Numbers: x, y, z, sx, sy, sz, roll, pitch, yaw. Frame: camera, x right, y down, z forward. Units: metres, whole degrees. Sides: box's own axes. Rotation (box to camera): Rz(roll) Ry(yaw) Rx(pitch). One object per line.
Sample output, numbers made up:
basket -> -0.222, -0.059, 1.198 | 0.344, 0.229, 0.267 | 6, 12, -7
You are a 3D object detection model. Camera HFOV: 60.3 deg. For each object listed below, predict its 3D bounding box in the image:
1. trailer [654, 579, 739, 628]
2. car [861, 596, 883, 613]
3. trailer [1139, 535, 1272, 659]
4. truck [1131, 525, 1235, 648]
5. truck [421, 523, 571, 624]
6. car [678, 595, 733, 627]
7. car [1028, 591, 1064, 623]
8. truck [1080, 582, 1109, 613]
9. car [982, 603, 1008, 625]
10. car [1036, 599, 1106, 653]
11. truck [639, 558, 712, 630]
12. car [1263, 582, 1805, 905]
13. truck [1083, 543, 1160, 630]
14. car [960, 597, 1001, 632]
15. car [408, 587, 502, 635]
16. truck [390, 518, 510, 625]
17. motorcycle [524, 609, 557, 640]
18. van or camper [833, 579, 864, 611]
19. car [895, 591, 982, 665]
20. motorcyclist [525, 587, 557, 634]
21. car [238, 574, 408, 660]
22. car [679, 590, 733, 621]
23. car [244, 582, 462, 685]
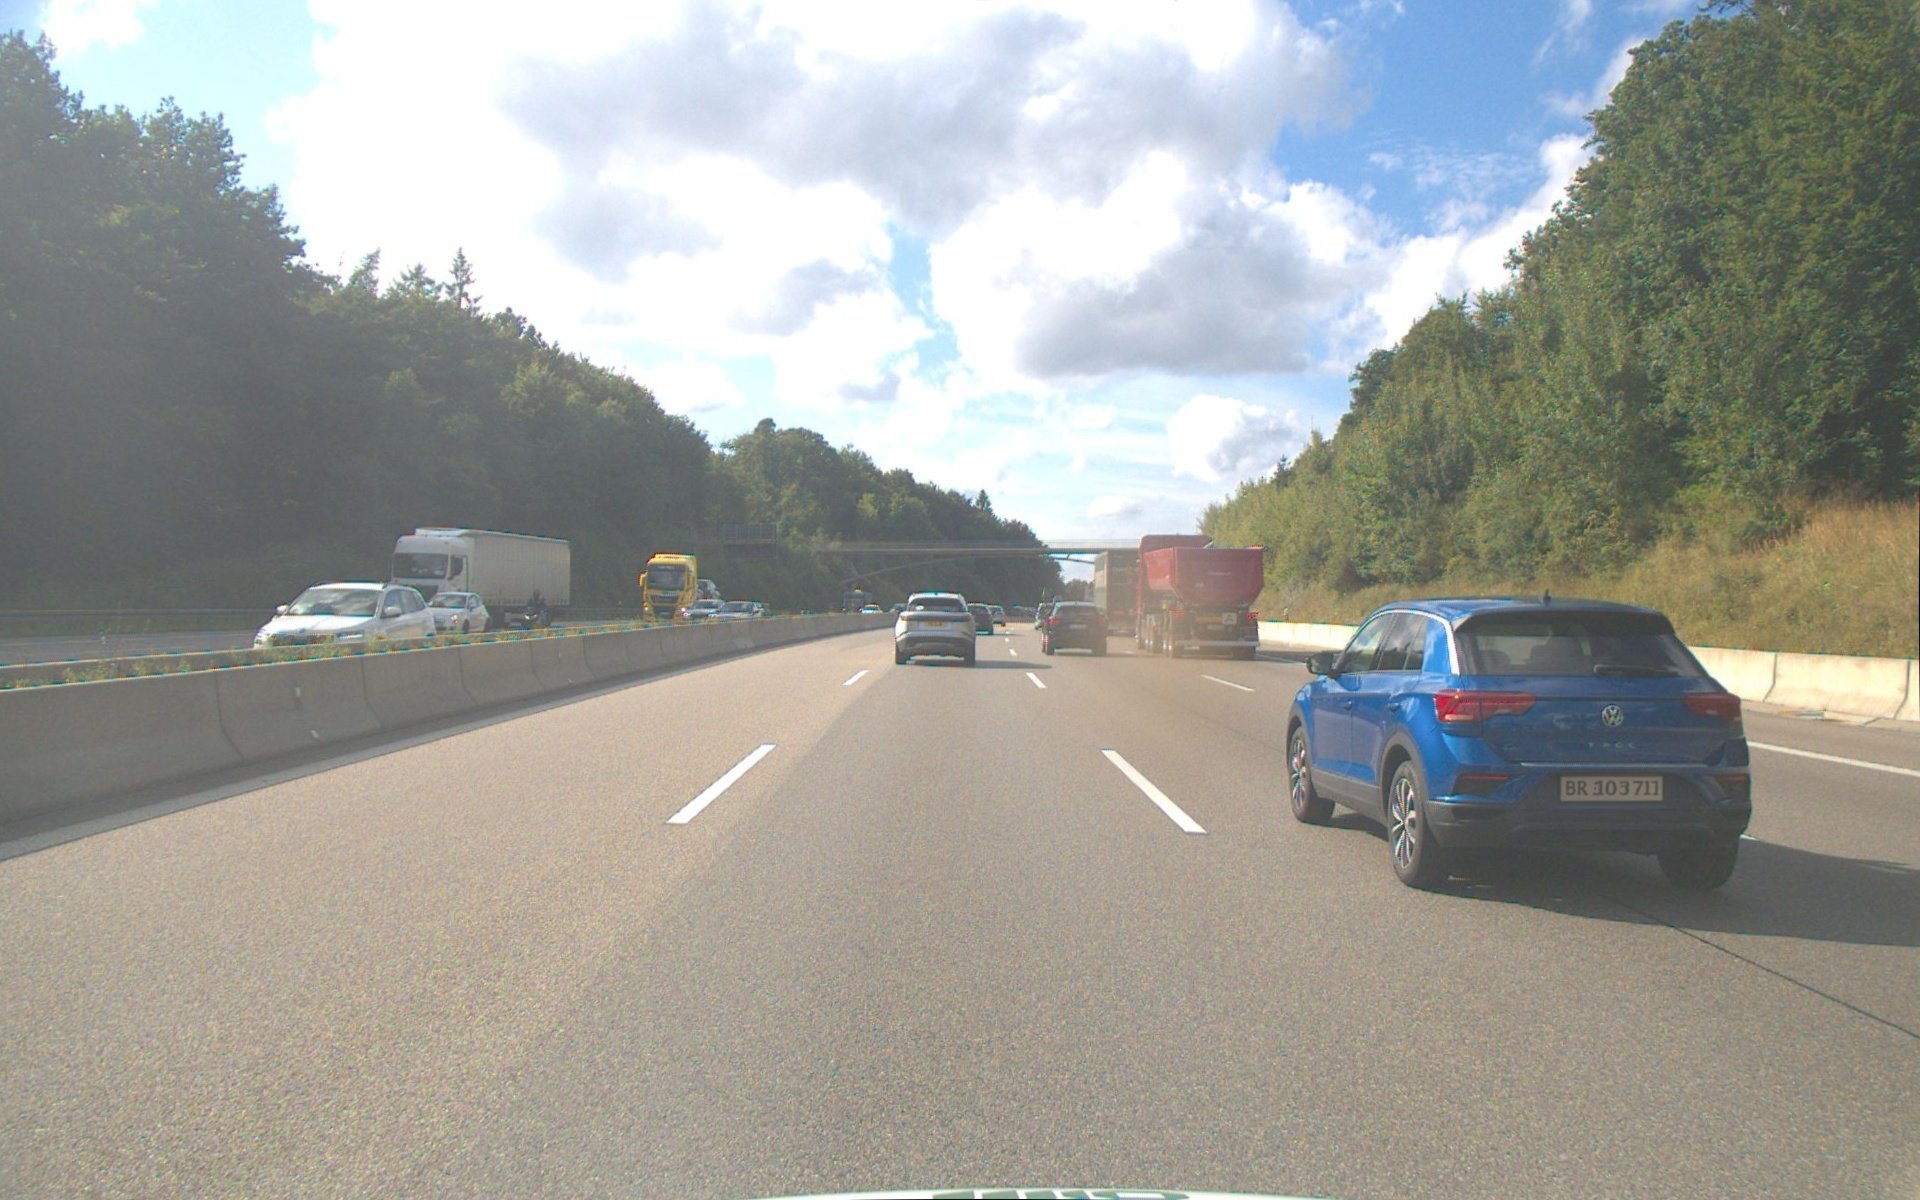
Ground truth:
trailer -> -15.814, 0.178, 100.253 | 2.719, 2.767, 13.314 | 1, 0, 1
car -> -8.350, 0.377, 157.571 | 1.777, 1.562, 4.316 | 1, 0, 1
trailer -> 7.126, -0.088, 49.312 | 2.654, 3.288, 9.733 | 1, 0, 1
truck -> 7.221, -0.415, 54.224 | 2.654, 3.784, 5.818 | 1, 0, 1
truck -> -20.612, -1.111, 74.567 | 2.650, 4.139, 13.091 | 1, 0, 2
car -> -10.766, 0.449, 70.229 | 1.649, 1.330, 4.198 | 1, 0, 0
car -> 5.058, 0.399, 98.079 | 1.855, 1.889, 4.100 | 1, 0, -1
truck -> 13.419, -0.186, 165.371 | 2.784, 2.976, 8.390 | 1, 0, 5
car -> 2.548, 1.001, 119.547 | 1.784, 1.483, 4.001 | 1, 0, 2
car -> 3.215, 0.730, 48.507 | 1.785, 1.483, 4.000 | 1, 0, 0
truck -> -15.968, -0.359, 93.266 | 2.719, 3.877, 7.135 | 1, 0, 1
car -> 3.193, 0.684, 10.240 | 1.737, 1.557, 4.456 | 0, 0, -1
truck -> 7.904, -0.659, 82.041 | 3.054, 4.003, 10.413 | 1, 0, 2
car -> 1.003, 0.695, 79.388 | 1.784, 1.573, 4.001 | 2, 0, 3
car -> -16.985, 0.374, 55.814 | 1.809, 1.524, 4.129 | 1, 0, 1
truck -> -20.820, -1.138, 67.878 | 2.650, 4.139, 6.599 | 1, 0, 2
motorcycle -> -13.552, 0.793, 53.479 | 0.472, 0.973, 2.251 | 1, 0, 0
van or camper -> -11.705, -0.527, 174.084 | 2.506, 3.180, 7.336 | 1, 0, 2
car -> -0.466, 0.622, 40.344 | 1.965, 1.644, 5.301 | 1, 0, 0
motorcyclist -> -13.565, 0.349, 53.531 | 0.739, 1.502, 1.075 | 1, 0, -1
car -> -13.688, 0.336, 35.858 | 1.953, 1.716, 4.678 | 1, 0, -1
car -> -12.848, 0.274, 83.943 | 1.953, 1.512, 4.983 | 1, 0, 0
car -> -9.858, 0.500, 27.278 | 1.717, 1.534, 4.681 | 1, 0, 2
